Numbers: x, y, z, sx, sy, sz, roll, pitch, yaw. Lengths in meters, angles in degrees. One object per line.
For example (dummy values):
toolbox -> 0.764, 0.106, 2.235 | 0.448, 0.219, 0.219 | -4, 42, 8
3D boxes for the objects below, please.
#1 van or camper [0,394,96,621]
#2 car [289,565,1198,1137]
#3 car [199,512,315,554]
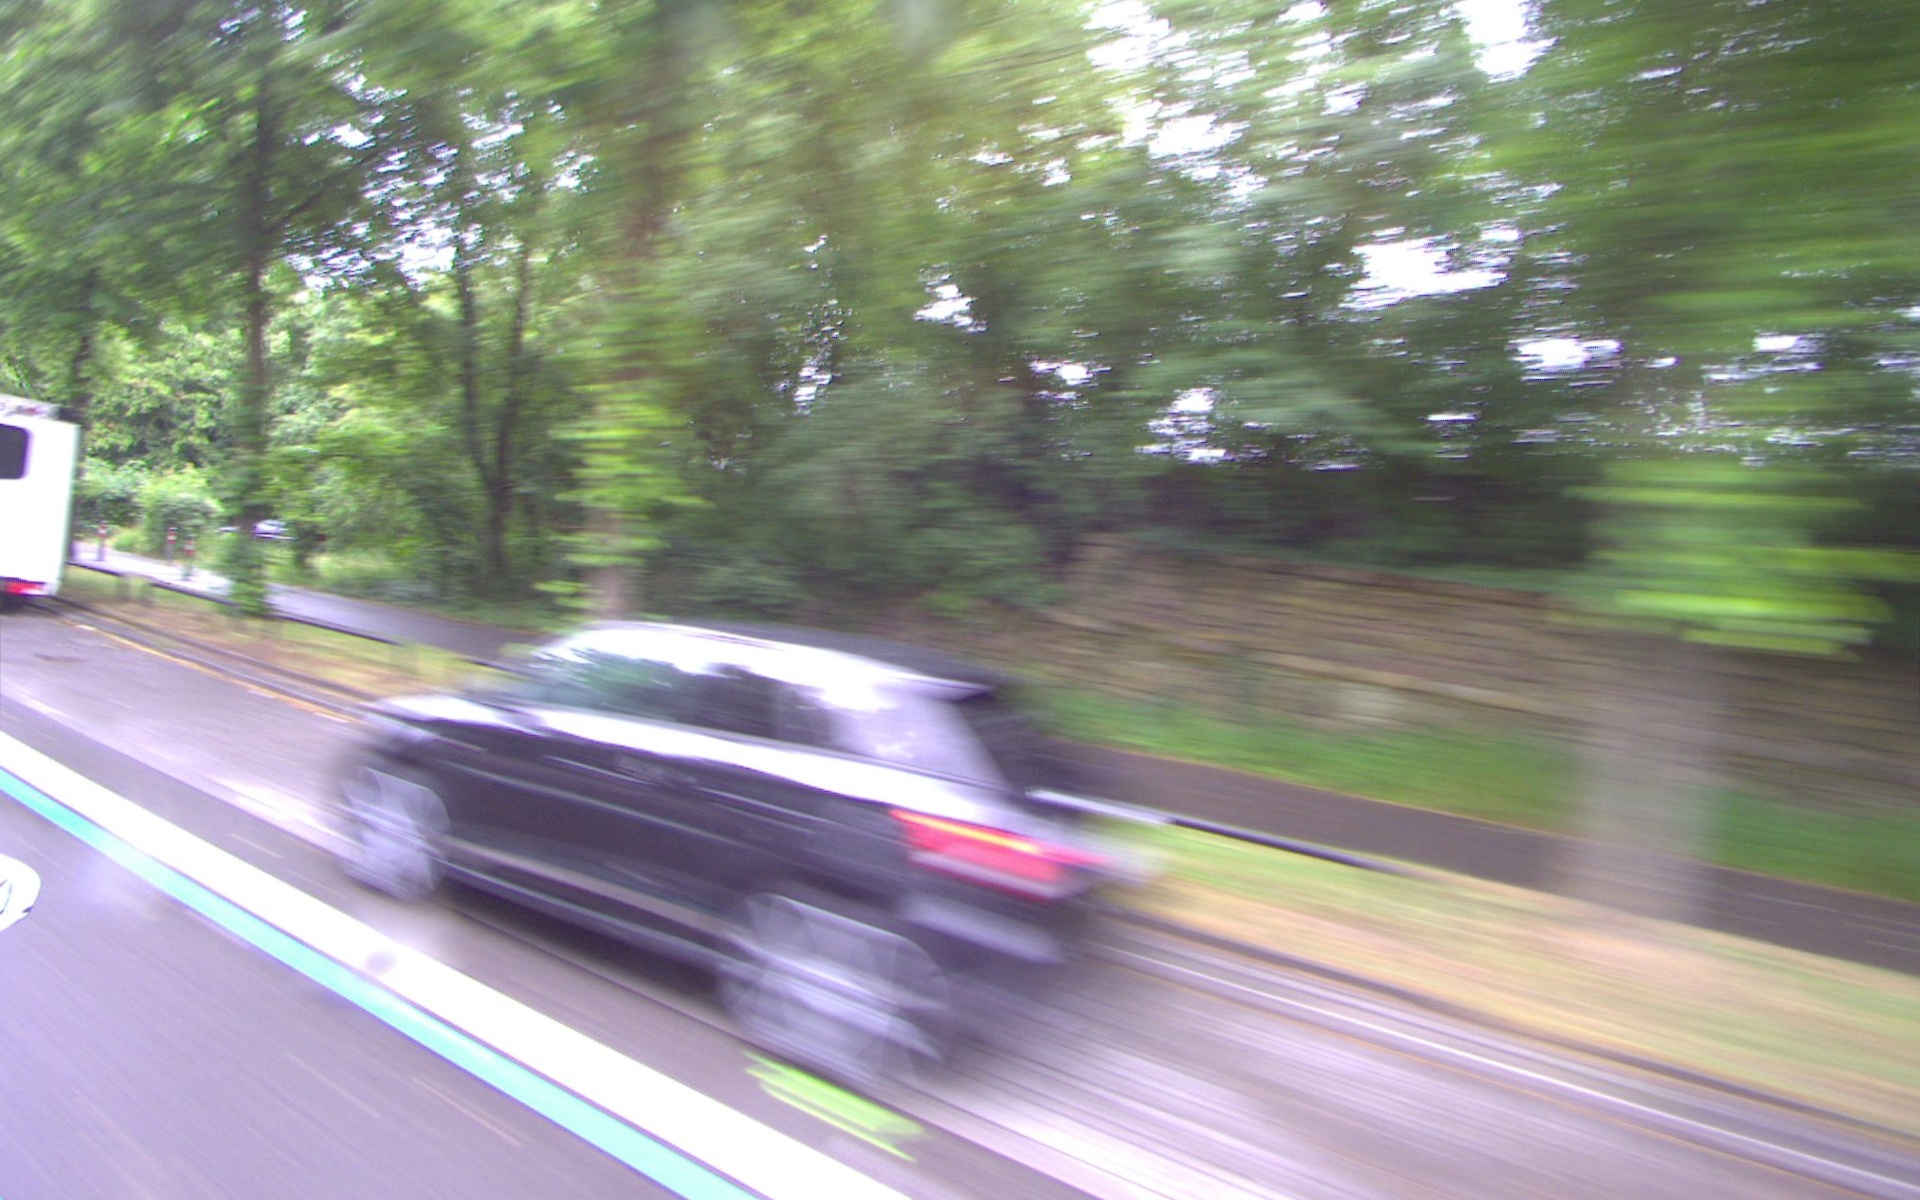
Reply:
van or camper -> -14.467, -1.490, 13.874 | 6.283, 2.696, 2.318 | 7, -1, 36
car -> -1.136, 0.770, 4.673 | 3.933, 1.392, 1.681 | 6, -1, 31
car -> -31.697, -3.018, 45.431 | 4.117, 1.338, 1.870 | 6, 0, -40
